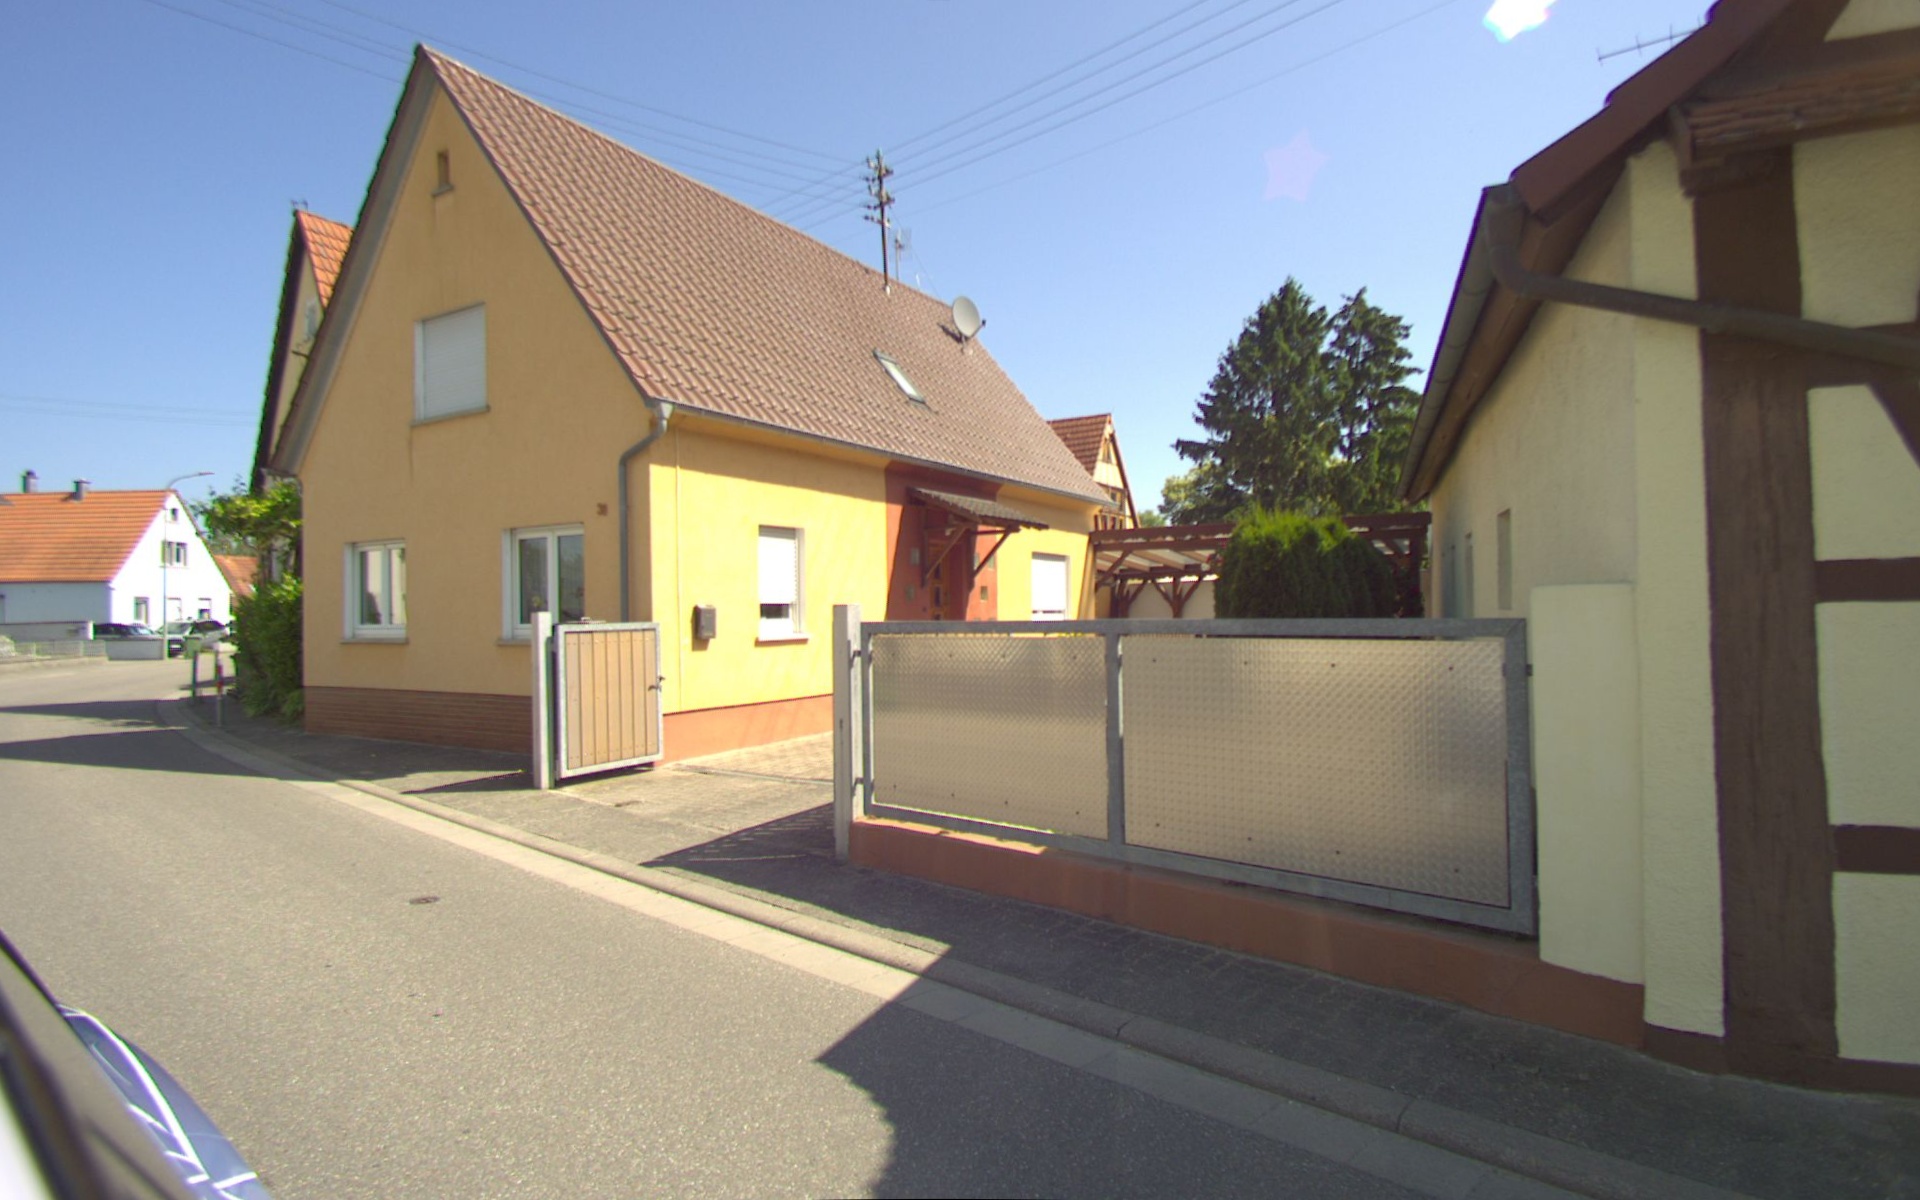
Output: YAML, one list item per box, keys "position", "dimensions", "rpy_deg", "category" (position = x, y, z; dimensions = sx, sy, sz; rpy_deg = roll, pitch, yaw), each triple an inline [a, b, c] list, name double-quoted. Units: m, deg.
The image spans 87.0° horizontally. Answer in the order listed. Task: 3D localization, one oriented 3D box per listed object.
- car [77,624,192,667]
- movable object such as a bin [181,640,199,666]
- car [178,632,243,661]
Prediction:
- position: [-37.986, 2.067, 46.624]
  dimensions: [3.945, 1.859, 1.701]
  rpy_deg: [-1, -1, 1]
  category: "car"
- position: [-34.336, 2.358, 45.139]
  dimensions: [0.432, 1.152, 0.563]
  rpy_deg: [-2, -2, 41]
  category: "movable object such as a bin"
- position: [-38.510, 2.348, 52.101]
  dimensions: [1.499, 1.384, 3.608]
  rpy_deg: [-1, -1, -16]
  category: "car"
